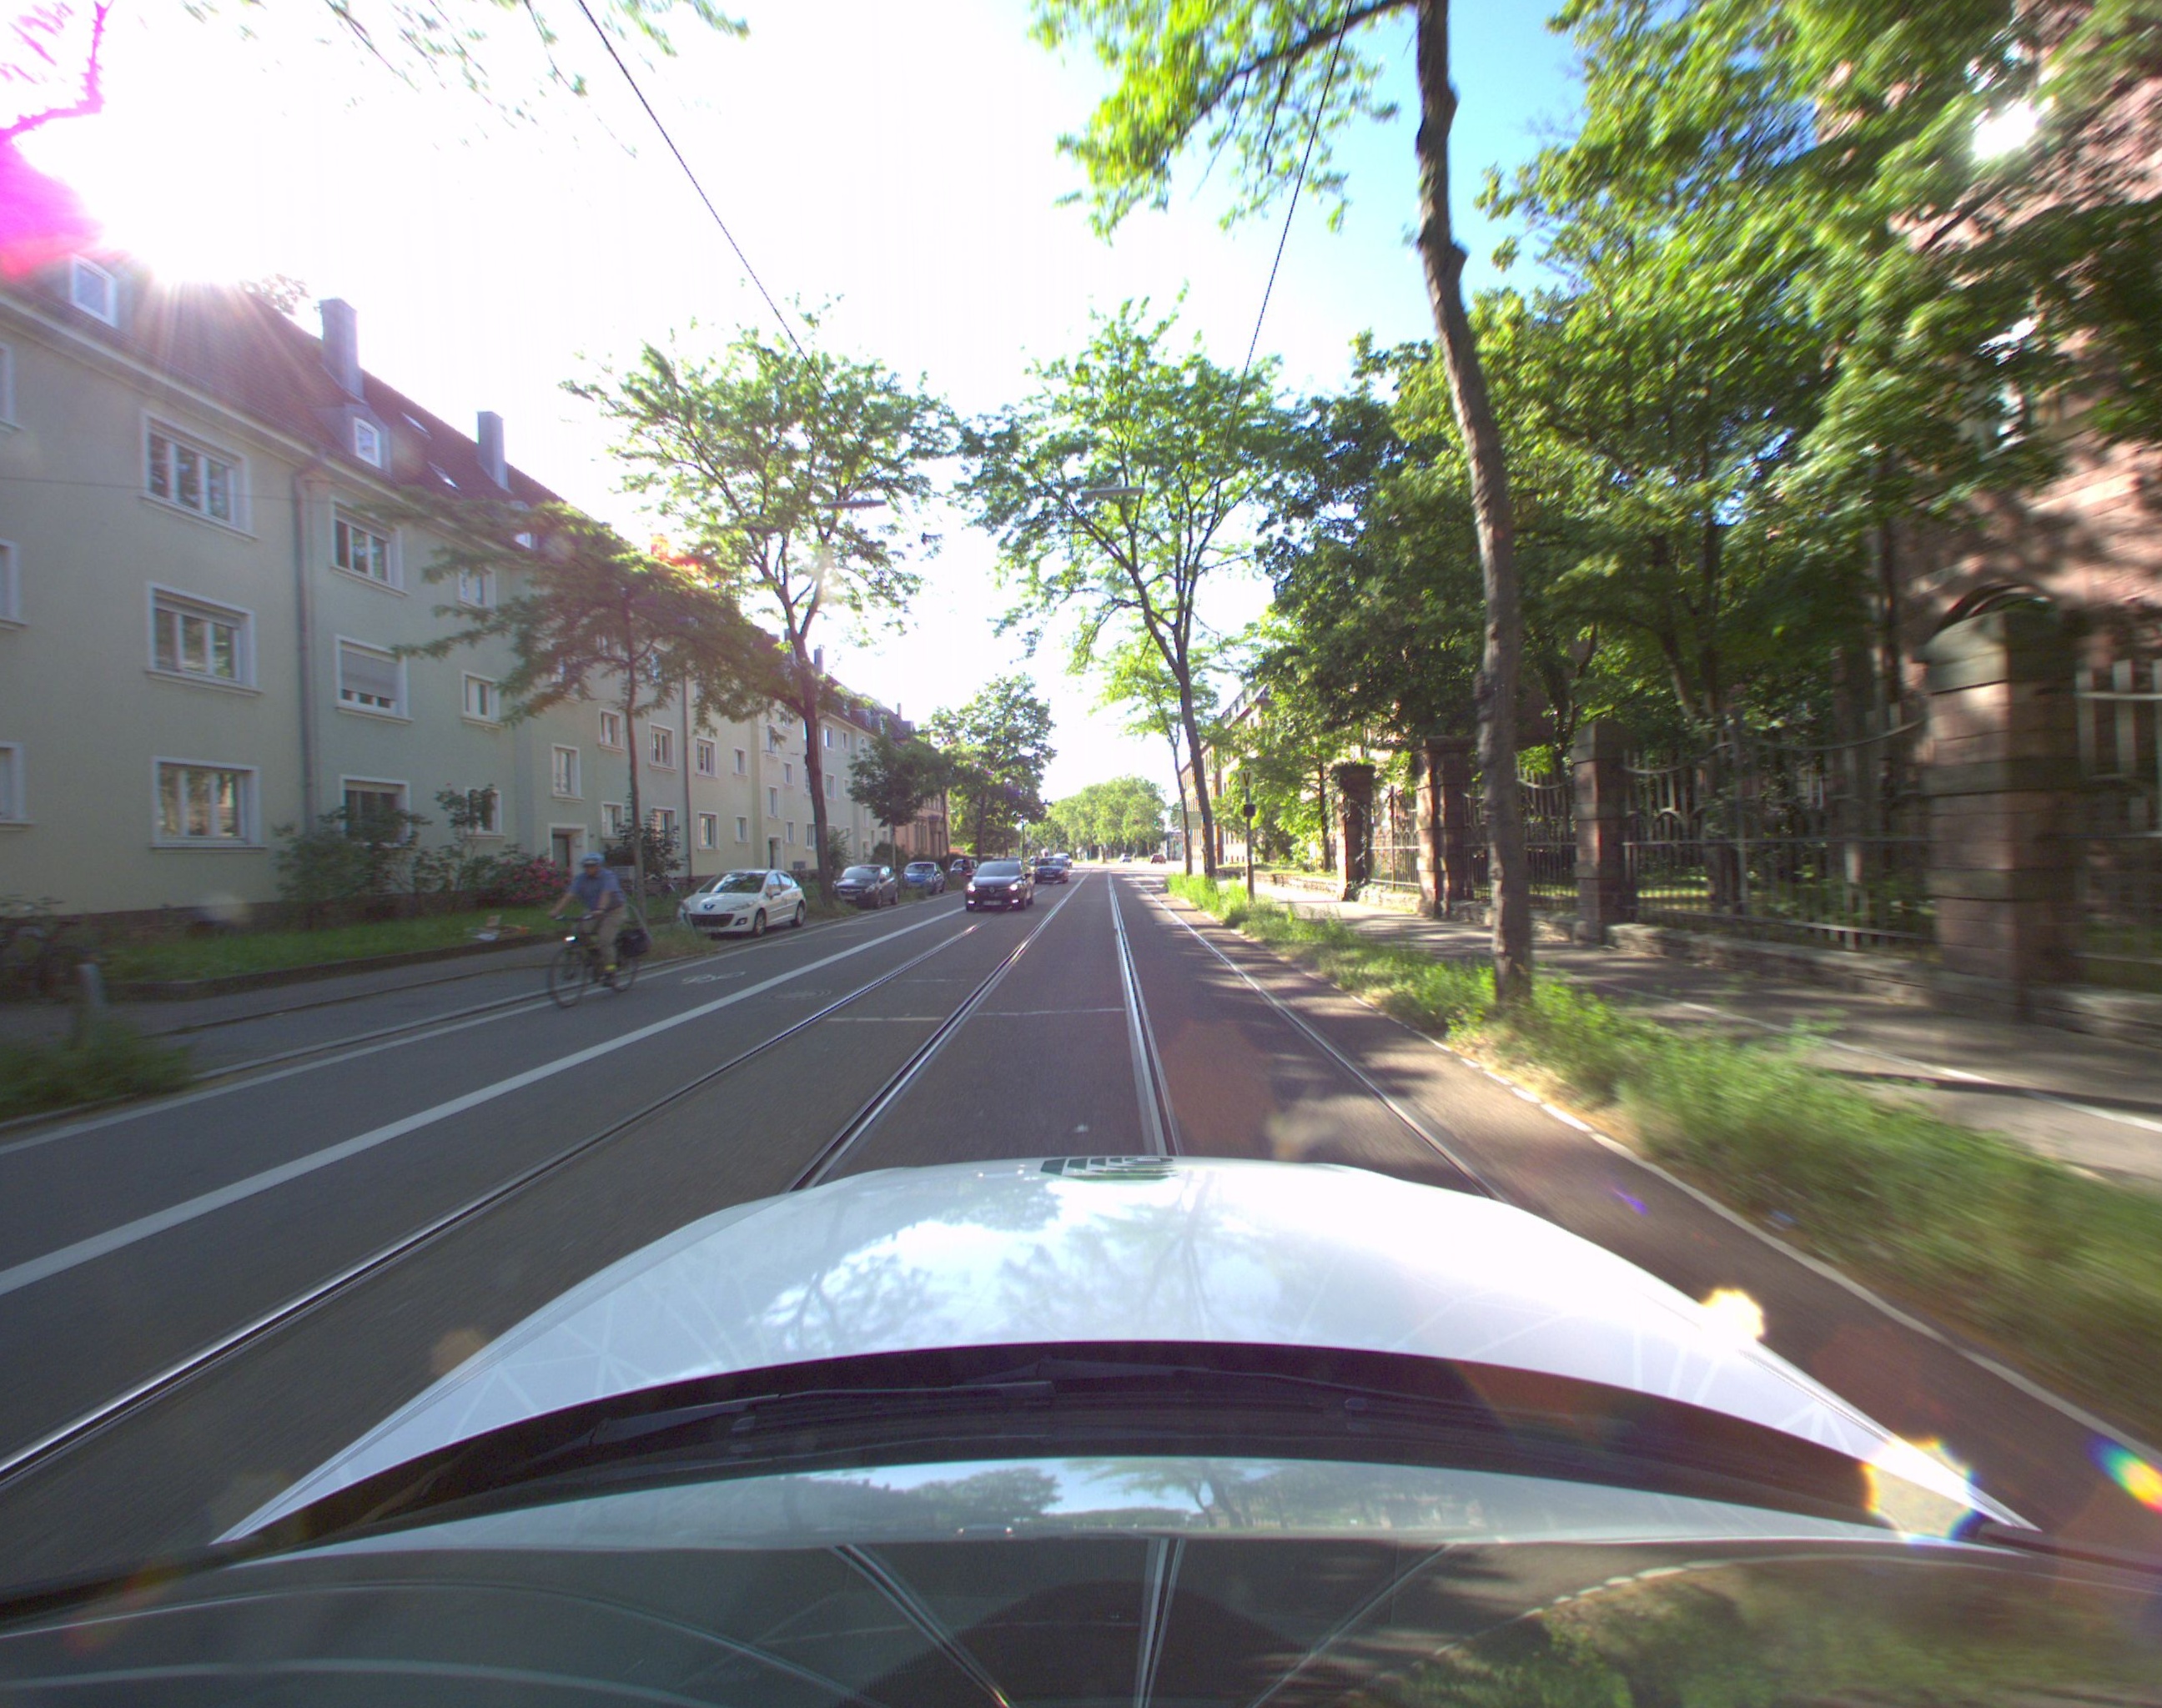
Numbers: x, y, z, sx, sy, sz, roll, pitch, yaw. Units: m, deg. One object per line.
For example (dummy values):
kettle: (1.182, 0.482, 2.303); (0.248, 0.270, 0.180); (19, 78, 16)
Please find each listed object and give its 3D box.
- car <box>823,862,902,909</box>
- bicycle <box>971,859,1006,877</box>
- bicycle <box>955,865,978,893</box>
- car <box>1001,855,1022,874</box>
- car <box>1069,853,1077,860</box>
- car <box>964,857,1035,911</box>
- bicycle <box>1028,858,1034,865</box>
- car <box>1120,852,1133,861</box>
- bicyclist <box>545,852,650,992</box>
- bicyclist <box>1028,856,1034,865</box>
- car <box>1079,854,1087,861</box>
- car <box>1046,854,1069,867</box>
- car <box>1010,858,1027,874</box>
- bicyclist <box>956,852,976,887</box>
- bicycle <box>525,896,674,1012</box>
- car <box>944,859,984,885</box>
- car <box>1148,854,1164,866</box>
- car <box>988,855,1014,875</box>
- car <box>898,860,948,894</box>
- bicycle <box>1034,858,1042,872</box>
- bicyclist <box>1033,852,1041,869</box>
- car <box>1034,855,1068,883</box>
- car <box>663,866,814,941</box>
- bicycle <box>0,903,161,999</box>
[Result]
car: (-7.532, 1.040, 28.411); (1.681, 1.485, 3.760); (1, 0, 1)
bicycle: (-6.398, 0.980, 56.360); (2.271, 1.198, 0.561); (1, 1, 8)
bicycle: (-5.414, 1.170, 38.623); (0.692, 1.177, 1.914); (-4, 0, 2)
car: (-6.289, 0.958, 74.414); (1.741, 1.660, 4.386); (1, 0, -3)
car: (-2.191, 0.700, 222.965); (1.938, 1.610, 3.995); (-2, 0, -3)
car: (-2.387, 0.851, 24.808); (1.694, 1.439, 4.071); (-2, 0, 0)
bicycle: (-8.595, 1.288, 140.227); (0.750, 1.087, 2.167); (-2, 0, -13)
car: (8.241, 0.464, 147.228); (1.939, 1.610, 3.995); (-2, 0, -4)
bicyclist: (-6.051, 0.812, 10.243); (0.624, 1.639, 0.940); (-4, 0, 1)
bicyclist: (-8.588, 1.063, 140.173); (0.750, 1.504, 0.960); (-2, 0, -14)
car: (0.475, 0.820, 207.442); (1.939, 1.610, 3.994); (-2, 0, -4)
car: (-2.604, 0.704, 89.253); (1.811, 1.387, 4.423); (-2, 0, -11)
car: (-6.086, 1.115, 79.471); (1.578, 1.488, 3.609); (1, 0, -3)
bicyclist: (-5.454, 0.717, 38.615); (0.707, 1.607, 0.865); (-4, 0, 1)
bicycle: (-6.017, 1.201, 10.319); (0.624, 1.177, 1.914); (-4, 0, 2)
car: (-7.057, 1.052, 49.455); (1.739, 1.490, 4.324); (1, 0, 0)
car: (11.382, 0.859, 122.757); (1.826, 1.655, 3.593); (-2, 0, 14)
car: (-6.432, 0.847, 65.982); (1.740, 1.569, 4.068); (1, 0, -1)
car: (-7.277, 1.017, 37.749); (1.555, 1.457, 3.930); (1, 0, 0)
bicycle: (-3.964, 0.965, 74.628); (0.556, 1.198, 2.291); (-5, 0, -1)
bicyclist: (-3.994, 0.611, 74.612); (0.556, 1.456, 0.869); (-5, 0, -1)
car: (-1.662, 0.822, 46.526); (1.694, 1.471, 4.071); (-2, 0, 0)
car: (-7.896, 1.068, 19.217); (1.696, 1.485, 4.080); (1, 0, 2)
bicycle: (-13.068, 1.227, 10.436); (1.901, 1.177, 0.522); (0, 0, -1)
